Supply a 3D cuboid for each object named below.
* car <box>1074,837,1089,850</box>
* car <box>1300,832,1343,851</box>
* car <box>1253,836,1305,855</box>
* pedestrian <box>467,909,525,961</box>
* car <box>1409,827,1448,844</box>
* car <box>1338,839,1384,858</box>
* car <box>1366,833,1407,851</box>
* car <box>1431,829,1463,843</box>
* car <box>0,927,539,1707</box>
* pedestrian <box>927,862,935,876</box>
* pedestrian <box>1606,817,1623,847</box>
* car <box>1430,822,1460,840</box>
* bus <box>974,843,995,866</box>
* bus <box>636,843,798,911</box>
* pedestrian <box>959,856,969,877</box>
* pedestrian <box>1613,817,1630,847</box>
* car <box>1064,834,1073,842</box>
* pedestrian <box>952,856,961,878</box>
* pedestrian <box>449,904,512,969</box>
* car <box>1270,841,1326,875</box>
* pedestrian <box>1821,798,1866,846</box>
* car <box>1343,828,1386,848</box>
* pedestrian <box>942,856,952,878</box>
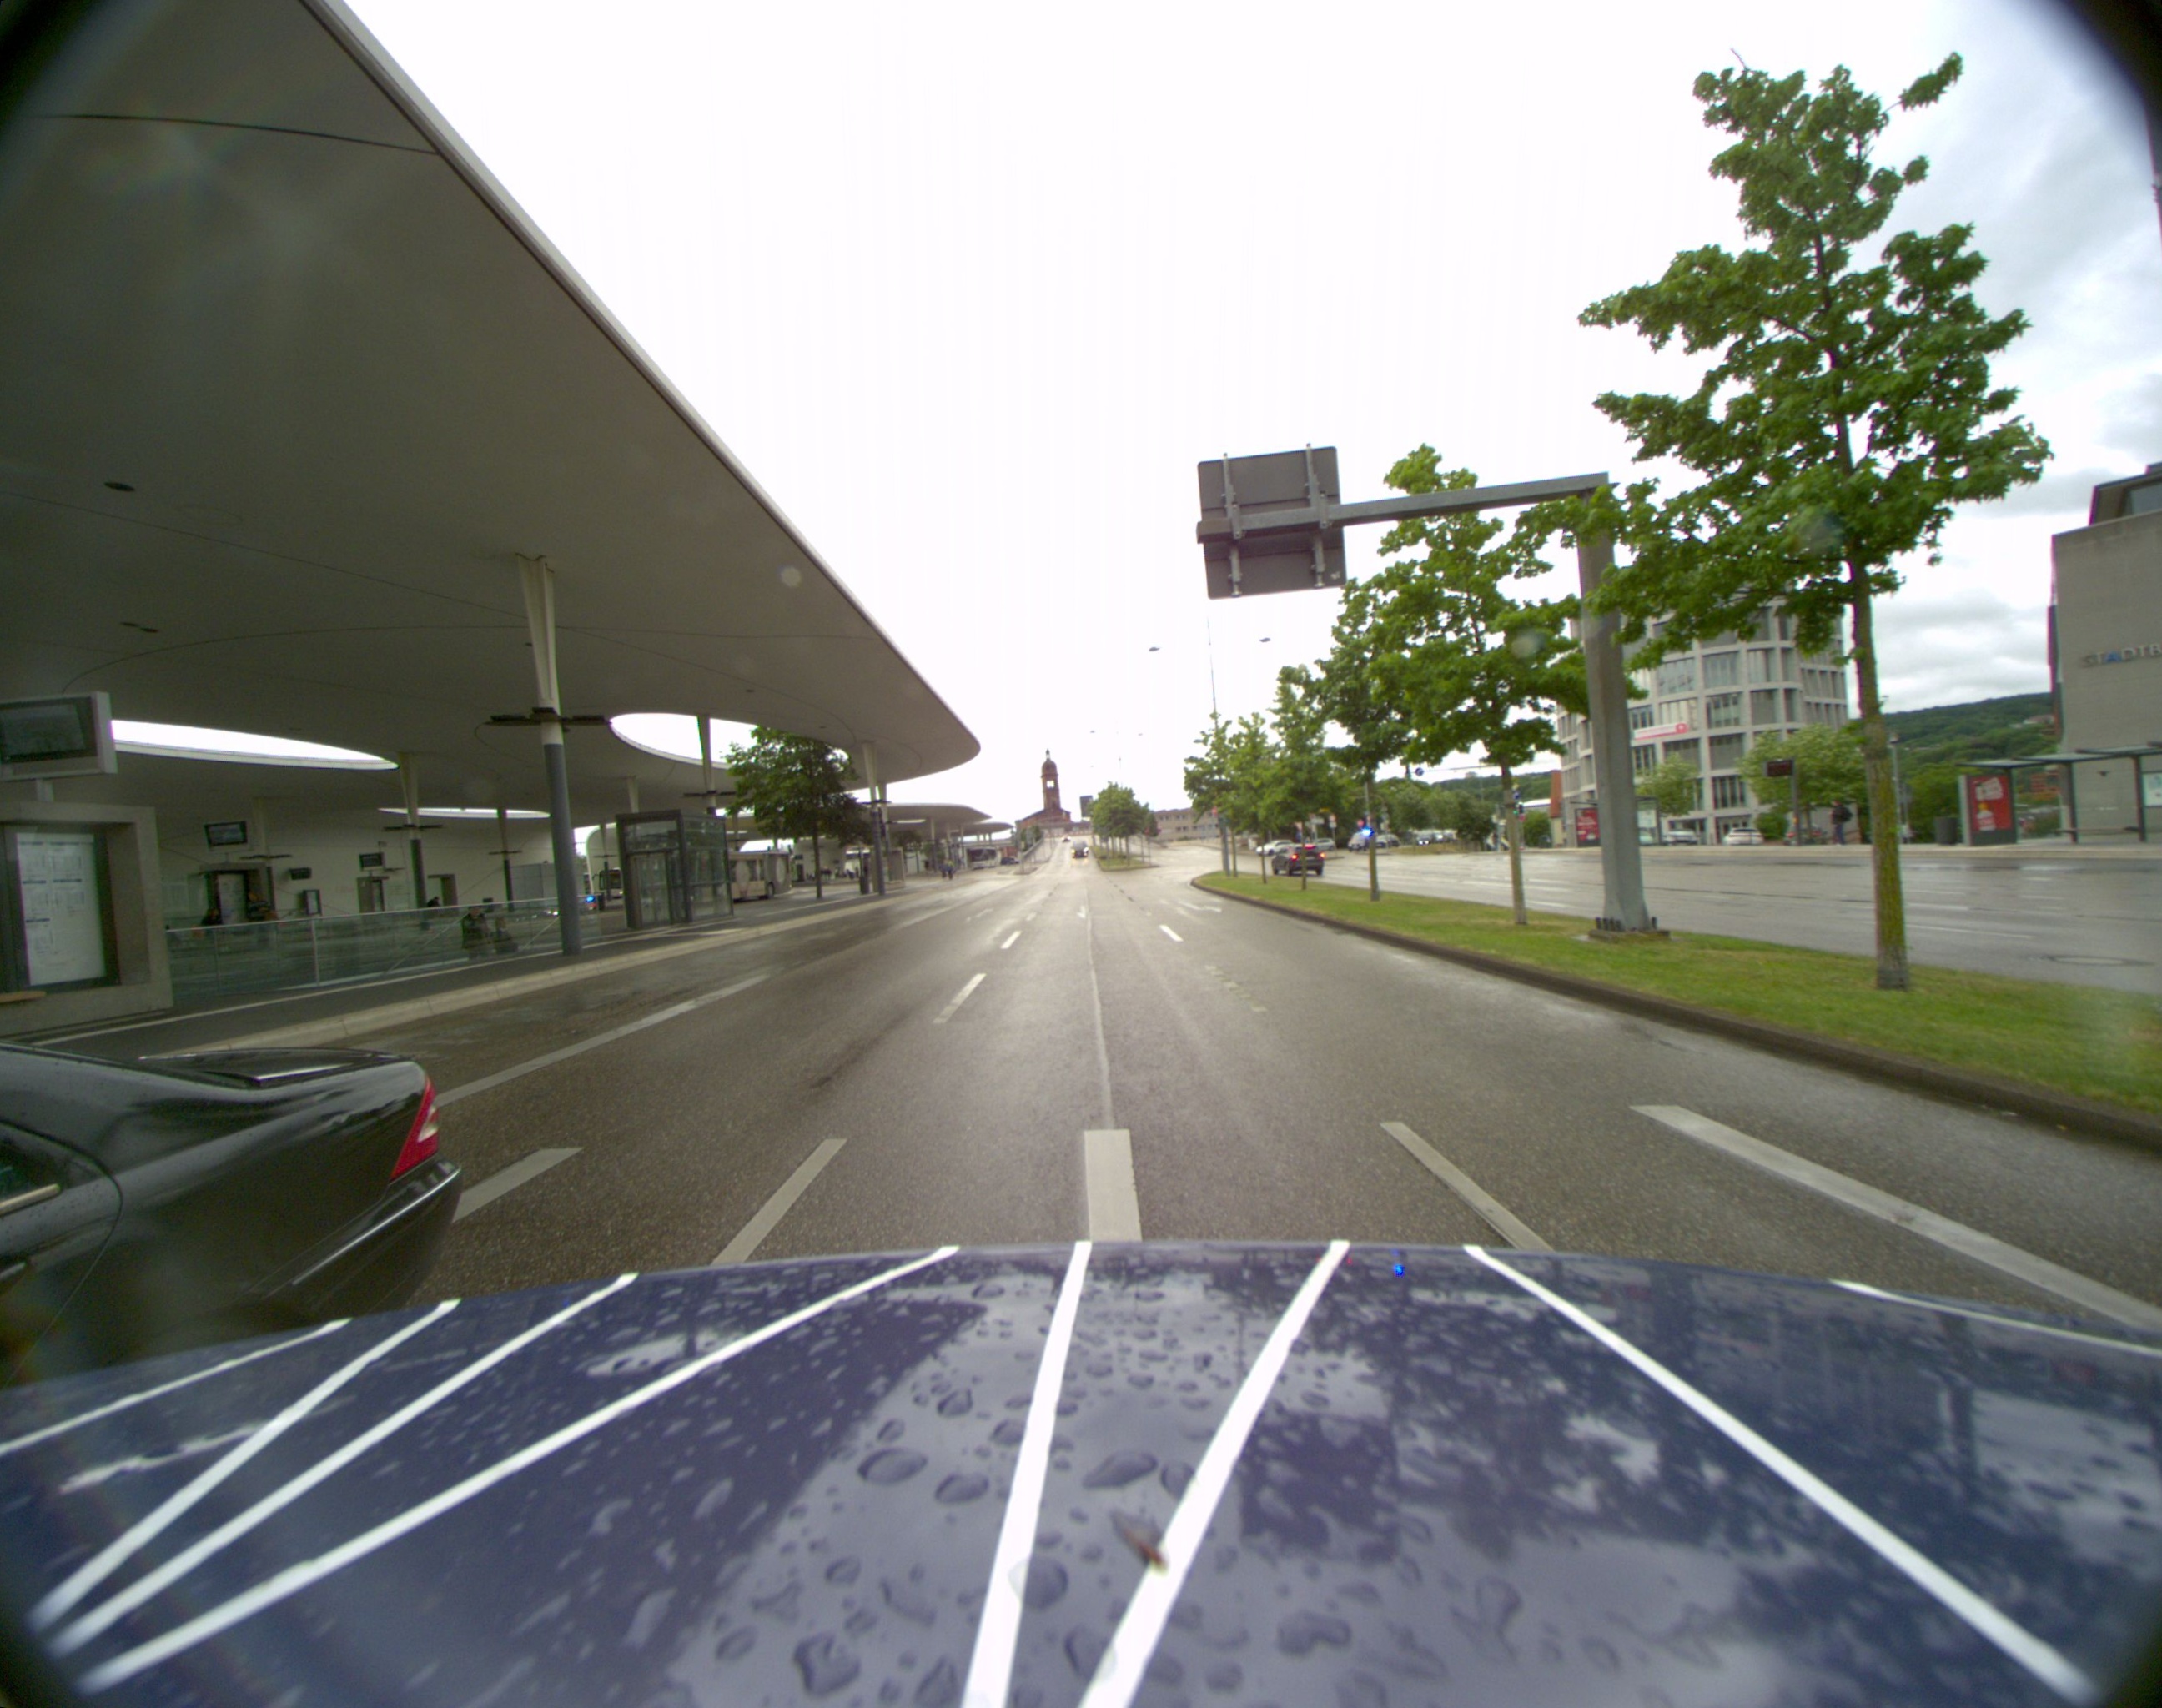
[{"bbox_3d":[0.068,-1.376,101.407,1.704,1.656,3.998,-3,1,-2],"label":"car"},{"bbox_3d":[25.909,-1.374,81.963,4.004,1.783,1.996,-3,1,-24],"label":"car"},{"bbox_3d":[20.760,-0.897,79.684,4.921,1.702,2.192,-3,1,-21],"label":"car"},{"bbox_3d":[-11.833,1.622,15.389,0.622,0.957,0.638,-3,1,1],"label":"pedestrian"},{"bbox_3d":[38.592,-2.094,84.391,4.925,1.702,2.190,-3,1,-43],"label":"car"},{"bbox_3d":[27.723,-0.563,75.132,4.925,1.702,2.190,-3,1,-43],"label":"car"},{"bbox_3d":[32.787,-1.301,81.500,4.925,1.702,2.190,-3,1,-43],"label":"car"},{"bbox_3d":[48.564,-2.374,100.766,4.925,1.702,2.190,-3,1,-45],"label":"car"},{"bbox_3d":[-2.863,1.167,0.363,1.750,1.472,4.434,-8,2,2],"label":"car"},{"bbox_3d":[-17.789,1.794,90.137,0.723,1.621,0.753,-3,1,0],"label":"pedestrian"},{"bbox_3d":[29.496,-1.214,42.015,0.504,1.625,0.502,-2,1,1],"label":"pedestrian"},{"bbox_3d":[44.148,-2.821,92.018,1.995,2.002,4.007,-3,0,44],"label":"car"},{"bbox_3d":[-14.311,0.061,113.268,2.675,3.111,9.712,-3,0,-5],"label":"bus"},{"bbox_3d":[-19.769,1.070,42.659,3.003,3.088,12.353,-3,0,0],"label":"bus"},{"bbox_3d":[-9.025,0.960,58.503,0.557,1.614,0.552,-3,1,1],"label":"pedestrian"},{"bbox_3d":[30.045,-1.241,42.248,0.520,1.625,0.536,-2,1,1],"label":"pedestrian"},{"bbox_3d":[-2.670,-3.408,161.042,1.704,1.656,3.998,-3,1,-2],"label":"car"},{"bbox_3d":[-9.608,0.983,58.613,0.557,1.614,0.552,-3,1,1],"label":"pedestrian"},{"bbox_3d":[-12.534,1.714,15.882,0.693,1.244,0.669,-3,1,1],"label":"pedestrian"},{"bbox_3d":[11.619,0.169,40.953,1.826,1.630,4.600,-3,0,3],"label":"car"},{"bbox_3d":[29.165,-1.227,29.068,0.787,1.750,0.972,-3,1,-28],"label":"pedestrian"},{"bbox_3d":[31.221,-1.775,83.670,5.043,2.002,2.304,-3,1,-43],"label":"car"},{"bbox_3d":[-10.315,0.995,58.693,0.576,1.614,0.588,-3,1,1],"label":"pedestrian"}]
